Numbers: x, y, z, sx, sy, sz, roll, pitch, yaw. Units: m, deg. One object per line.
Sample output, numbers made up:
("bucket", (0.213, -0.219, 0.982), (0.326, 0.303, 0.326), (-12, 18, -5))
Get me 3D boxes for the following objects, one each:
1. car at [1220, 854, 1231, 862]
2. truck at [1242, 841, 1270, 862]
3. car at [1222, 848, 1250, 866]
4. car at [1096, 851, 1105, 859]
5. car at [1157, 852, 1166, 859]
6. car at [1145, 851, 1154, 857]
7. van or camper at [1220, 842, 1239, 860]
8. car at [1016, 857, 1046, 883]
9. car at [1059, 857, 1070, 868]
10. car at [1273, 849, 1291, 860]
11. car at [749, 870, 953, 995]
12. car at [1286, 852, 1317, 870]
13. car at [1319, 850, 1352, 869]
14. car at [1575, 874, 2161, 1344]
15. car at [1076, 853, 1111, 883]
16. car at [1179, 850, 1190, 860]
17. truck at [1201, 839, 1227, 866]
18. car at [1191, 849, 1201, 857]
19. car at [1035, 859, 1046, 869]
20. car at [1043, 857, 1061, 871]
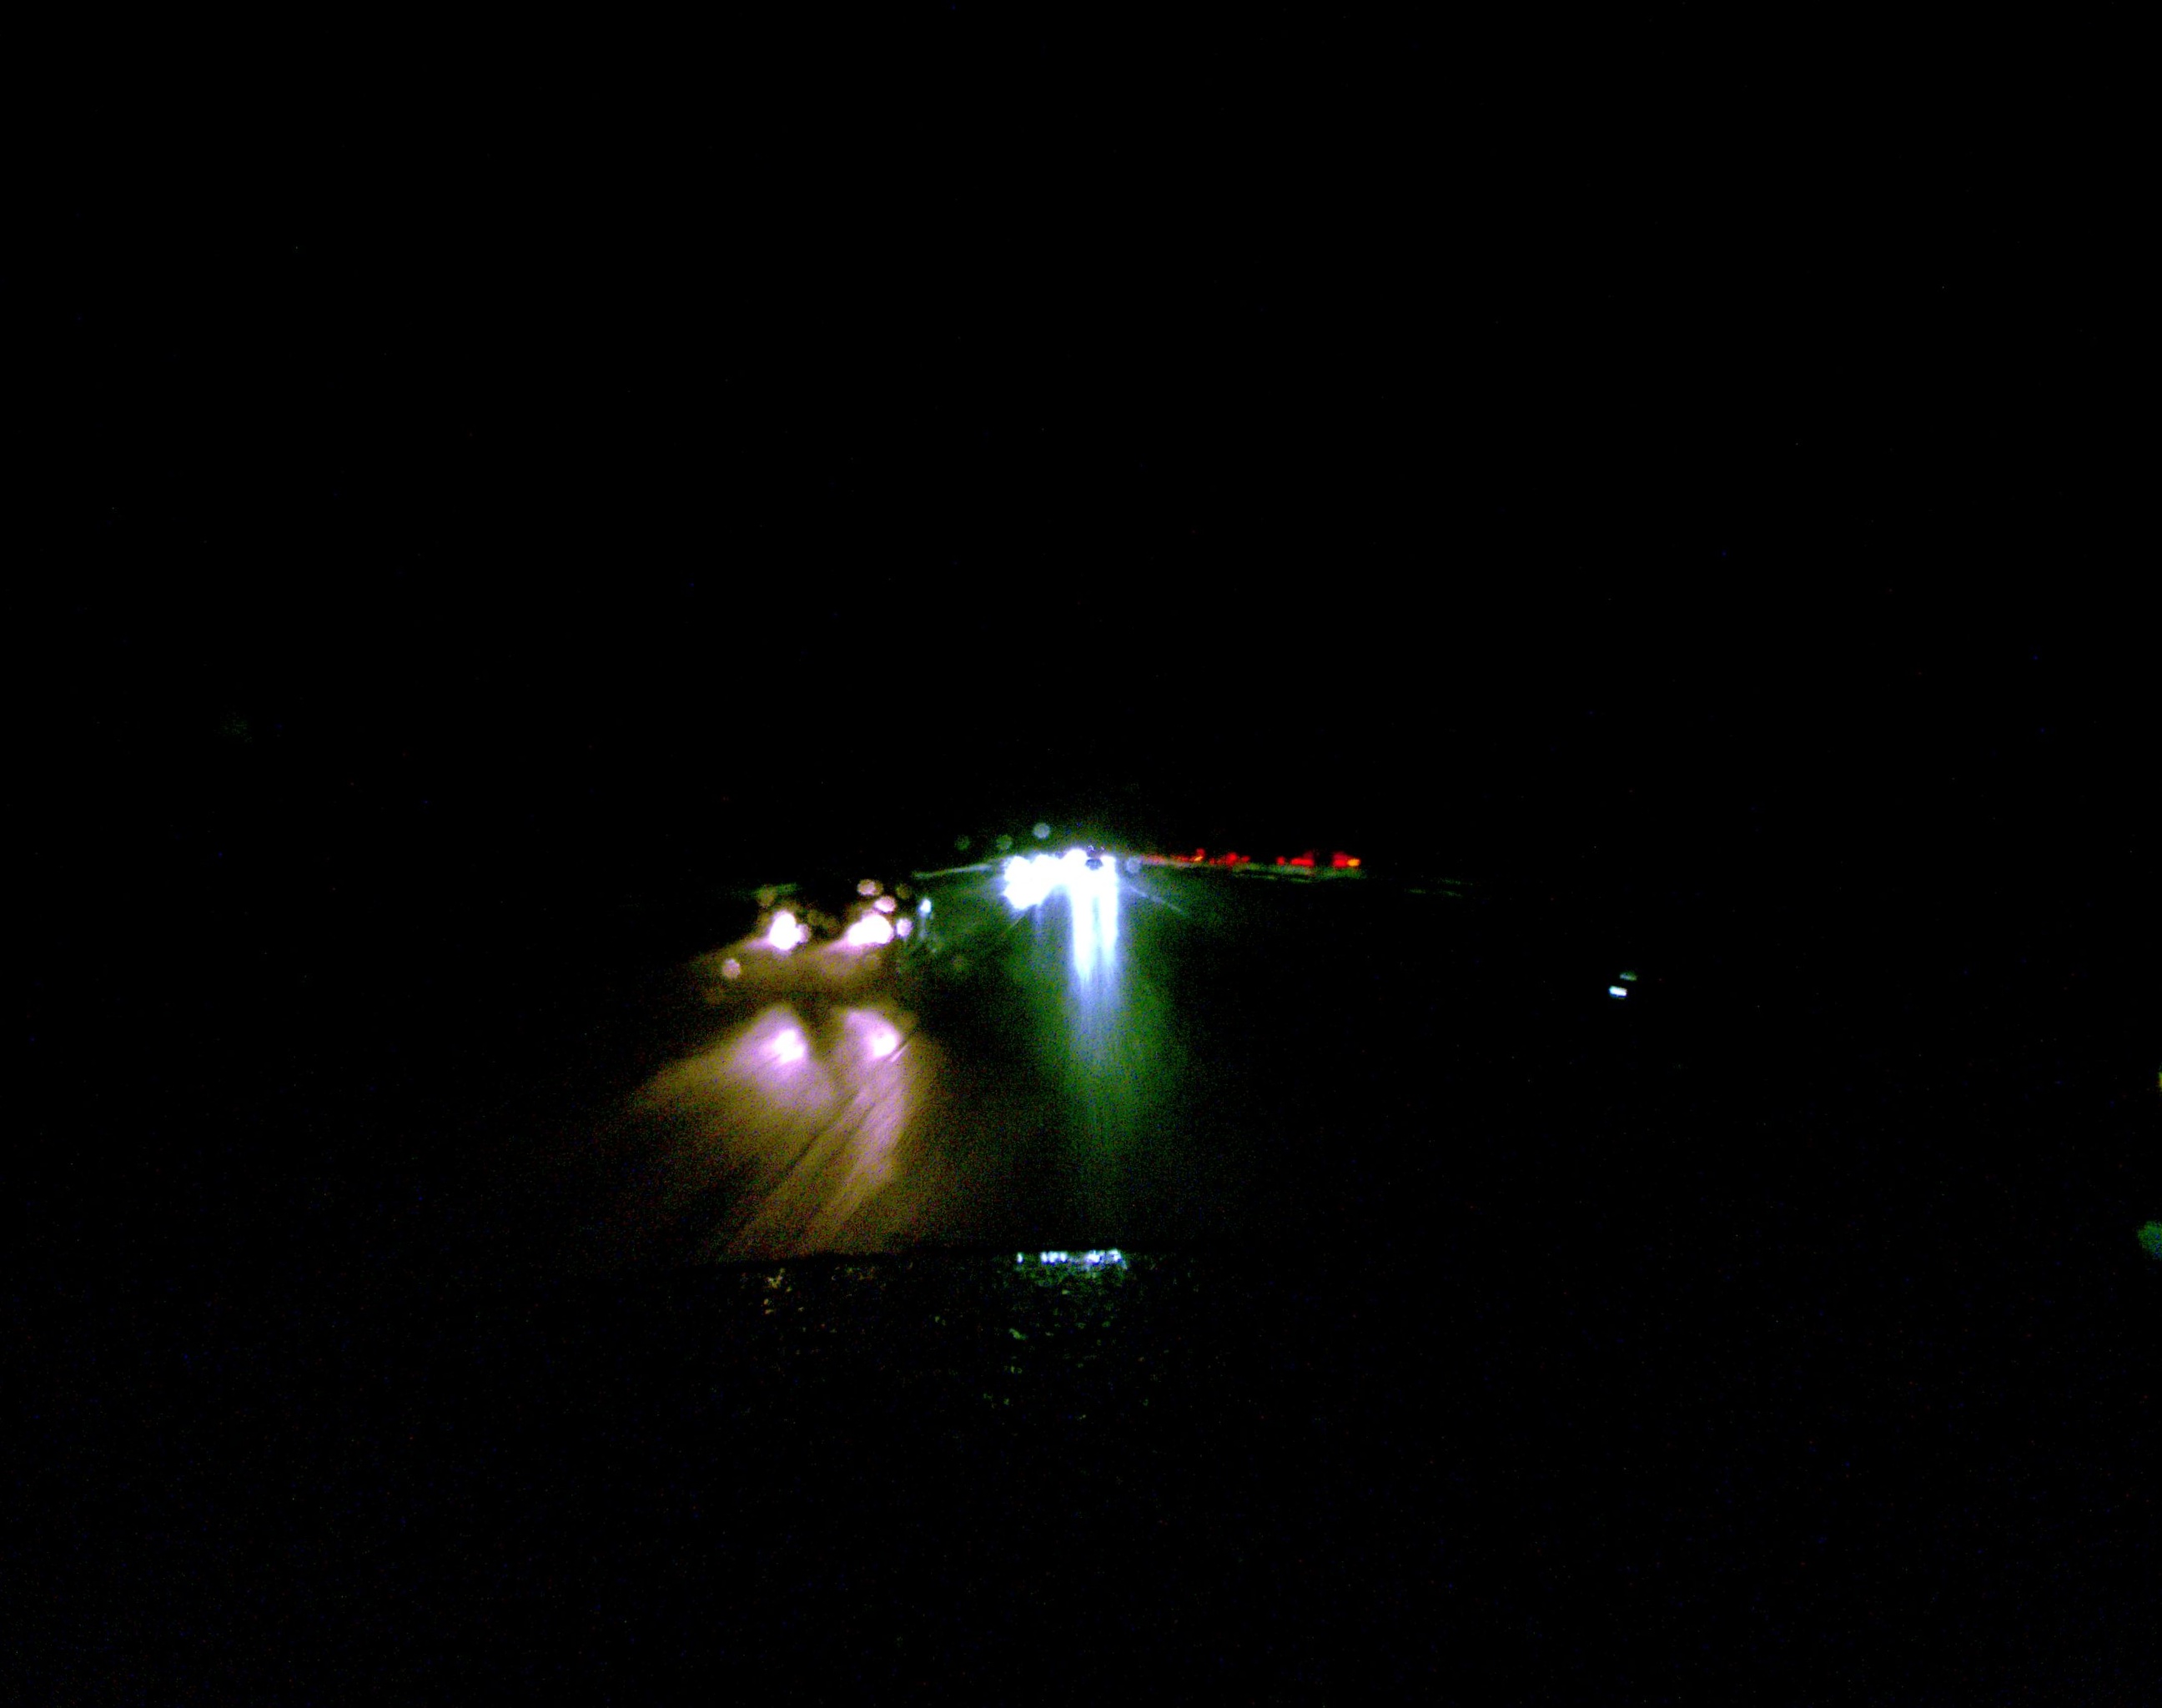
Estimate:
("car", (28.894, 0.850, 151.682), (1.547, 1.492, 3.461), (-2, 1, 0))
("truck", (25.863, -0.412, 112.409), (2.457, 2.982, 6.701), (-2, 1, 0))
("car", (16.876, 0.335, 83.131), (1.998, 1.796, 5.164), (-2, 1, 0))
("car", (4.221, 0.223, 163.609), (1.800, 1.728, 3.999), (-2, 1, 0))
("car", (21.502, 0.469, 202.797), (1.668, 1.788, 4.756), (-2, 1, 0))
("car", (21.061, 0.053, 234.459), (2.079, 1.879, 5.268), (-2, 1, 0))
("van or camper", (32.109, -0.582, 164.110), (2.520, 3.679, 7.678), (-2, 1, 0))
("car", (-3.571, 1.147, 54.738), (1.792, 1.681, 3.999), (-2, 1, 0))
("car", (-3.098, 1.606, 144.514), (1.998, 1.852, 3.999), (-2, 1, 0))
("car", (31.978, 0.112, 120.892), (1.767, 1.663, 3.886), (-2, 1, 0))
("car", (-3.250, 1.035, 11.690), (1.774, 1.449, 4.195), (-2, 0, 1))
("car", (21.038, 0.646, 72.727), (1.767, 1.663, 3.886), (-2, 1, 0))
("car", (24.652, 0.496, 73.720), (1.767, 1.663, 3.886), (-2, 1, 0))
("car", (4.349, 0.874, 3.245), (1.661, 1.422, 4.246), (-2, 0, -1))
("car", (0.708, 0.803, 45.306), (1.960, 1.655, 4.915), (-2, 0, 0))
("car", (21.795, 0.224, 159.900), (1.795, 2.002, 3.999), (-2, 1, 0))
("truck", (32.893, -0.441, 188.344), (3.231, 6.375, 17.301), (-2, 1, 0))
("car", (27.612, -0.252, 183.098), (1.680, 1.618, 4.204), (-2, 1, 0))
("car", (-7.592, 1.865, 143.029), (1.755, 1.563, 3.999), (-2, 1, 0))
("car", (-3.772, 1.286, 99.481), (1.998, 1.589, 4.653), (-2, 1, 2))
